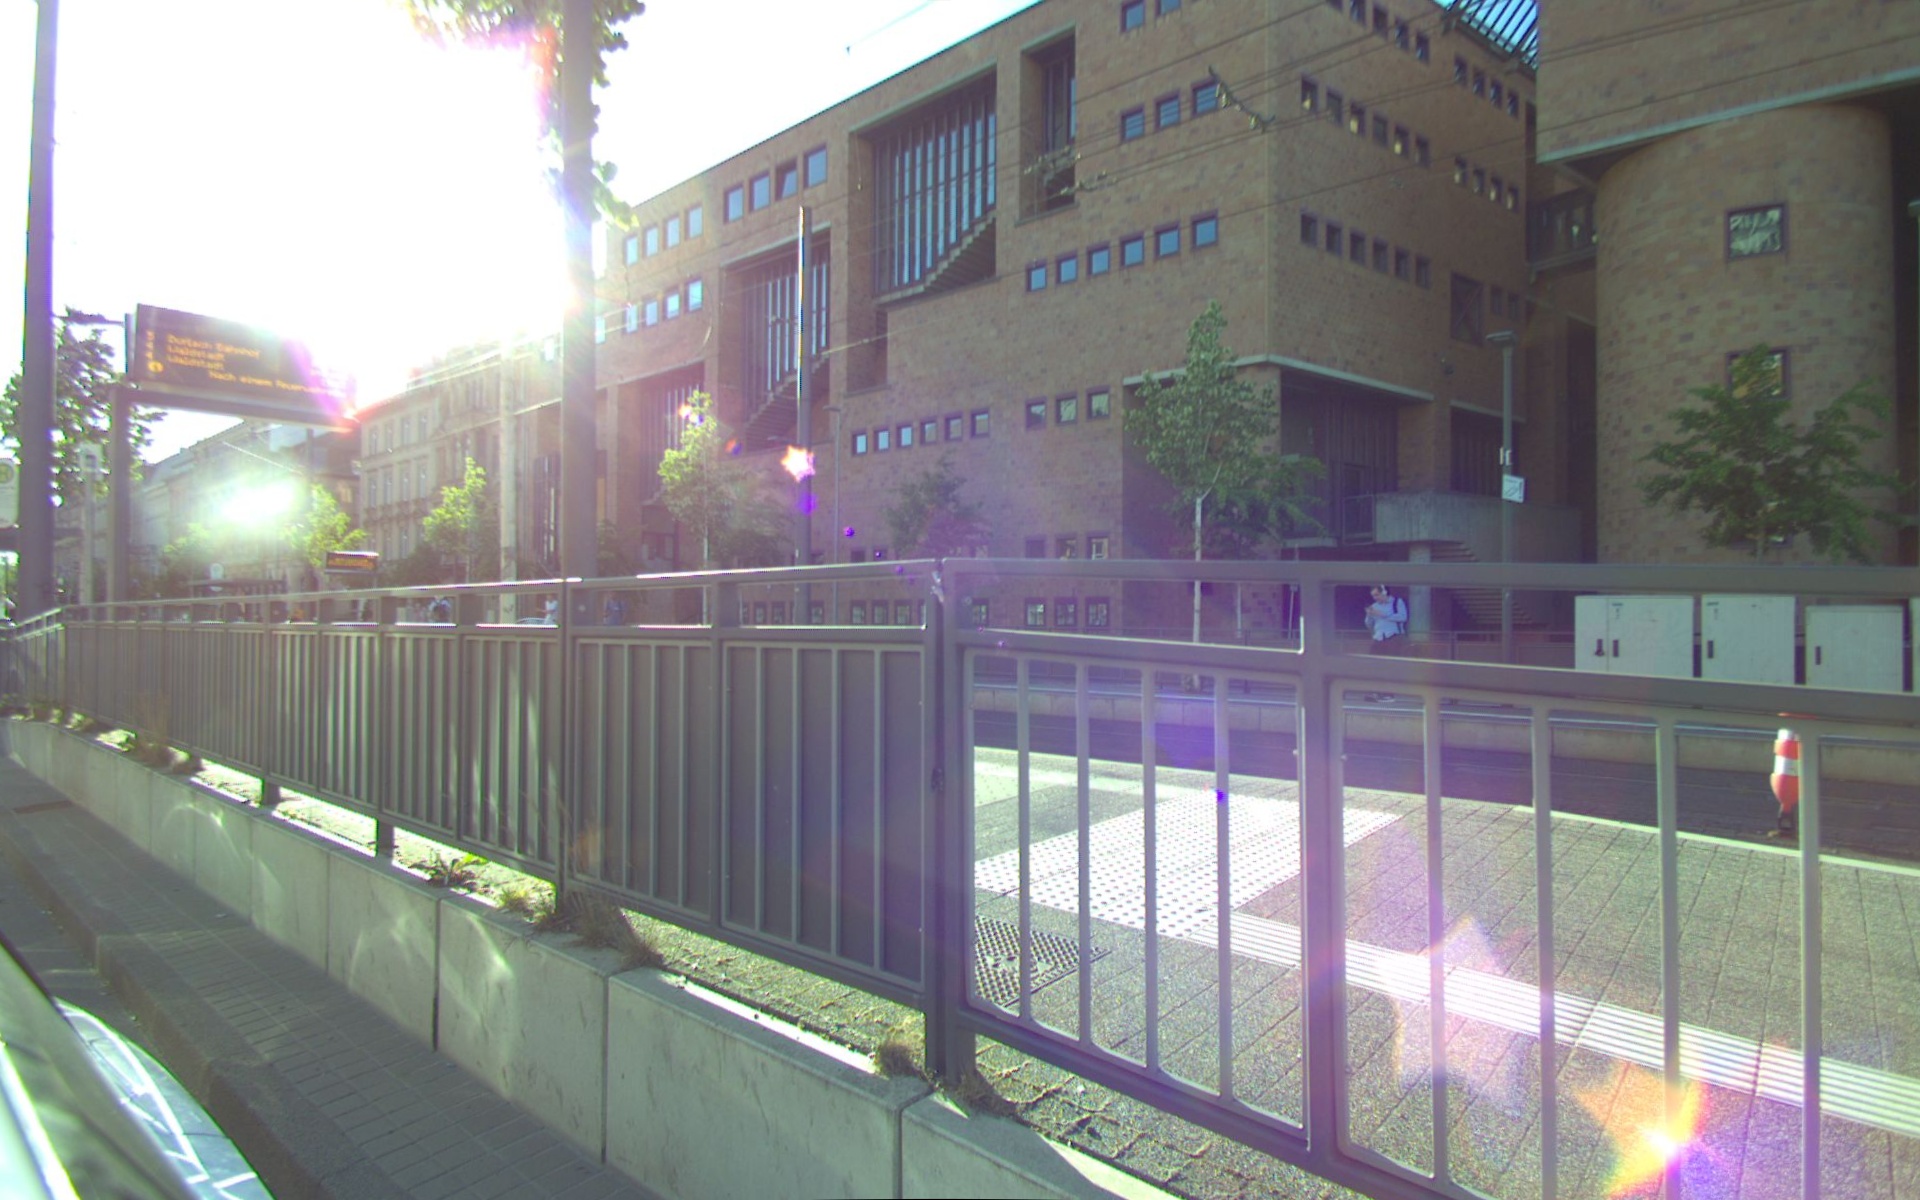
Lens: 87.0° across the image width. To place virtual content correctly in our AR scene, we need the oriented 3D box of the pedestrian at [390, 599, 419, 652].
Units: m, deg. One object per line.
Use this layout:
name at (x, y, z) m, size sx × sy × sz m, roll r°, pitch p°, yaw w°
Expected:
pedestrian at (-18.752, 0.872, 34.186) m, size 0.586 × 1.755 × 0.684 m, roll -2°, pitch -2°, yaw 38°

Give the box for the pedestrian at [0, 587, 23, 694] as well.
pedestrian at (-18.608, 0.778, 19.453) m, size 0.880 × 2.029 × 0.773 m, roll -2°, pitch -2°, yaw 42°

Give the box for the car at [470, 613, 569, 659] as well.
car at (-15.107, 1.226, 34.624) m, size 3.702 × 1.497 × 1.681 m, roll -2°, pitch -2°, yaw 41°

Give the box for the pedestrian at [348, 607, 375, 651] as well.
pedestrian at (-21.767, 1.052, 36.794) m, size 0.586 × 1.587 × 0.684 m, roll -2°, pitch -2°, yaw 38°

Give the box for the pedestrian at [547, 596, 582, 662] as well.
pedestrian at (-10.729, 0.788, 27.466) m, size 0.586 × 1.755 × 0.684 m, roll -2°, pitch -2°, yaw 38°

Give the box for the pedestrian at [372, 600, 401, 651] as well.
pedestrian at (-19.841, 0.886, 35.027) m, size 0.586 × 1.755 × 0.684 m, roll -2°, pitch -2°, yaw 38°

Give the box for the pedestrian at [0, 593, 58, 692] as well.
pedestrian at (-19.696, 0.888, 21.414) m, size 0.879 × 2.029 × 0.774 m, roll -2°, pitch -2°, yaw 39°

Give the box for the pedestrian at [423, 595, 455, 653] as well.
pedestrian at (-15.920, 0.728, 30.944) m, size 0.586 × 1.755 × 0.684 m, roll -2°, pitch -2°, yaw 38°

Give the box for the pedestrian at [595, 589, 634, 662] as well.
pedestrian at (-8.409, 0.617, 24.625) m, size 0.586 × 1.755 × 0.684 m, roll -2°, pitch -2°, yaw 38°

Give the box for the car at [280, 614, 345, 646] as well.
car at (-31.309, 1.436, 48.932) m, size 3.702 × 1.497 × 1.681 m, roll -2°, pitch -2°, yaw 41°

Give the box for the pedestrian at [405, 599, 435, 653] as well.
pedestrian at (-17.765, 0.859, 33.321) m, size 0.586 × 1.755 × 0.684 m, roll -2°, pitch -2°, yaw 38°

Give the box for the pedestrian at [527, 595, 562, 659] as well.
pedestrian at (-11.472, 0.740, 27.937) m, size 0.586 × 1.755 × 0.684 m, roll -2°, pitch -2°, yaw 38°

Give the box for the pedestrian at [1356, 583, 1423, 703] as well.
pedestrian at (5.744, 0.560, 13.540) m, size 0.653 × 1.546 × 0.693 m, roll -1°, pitch -2°, yaw 38°
